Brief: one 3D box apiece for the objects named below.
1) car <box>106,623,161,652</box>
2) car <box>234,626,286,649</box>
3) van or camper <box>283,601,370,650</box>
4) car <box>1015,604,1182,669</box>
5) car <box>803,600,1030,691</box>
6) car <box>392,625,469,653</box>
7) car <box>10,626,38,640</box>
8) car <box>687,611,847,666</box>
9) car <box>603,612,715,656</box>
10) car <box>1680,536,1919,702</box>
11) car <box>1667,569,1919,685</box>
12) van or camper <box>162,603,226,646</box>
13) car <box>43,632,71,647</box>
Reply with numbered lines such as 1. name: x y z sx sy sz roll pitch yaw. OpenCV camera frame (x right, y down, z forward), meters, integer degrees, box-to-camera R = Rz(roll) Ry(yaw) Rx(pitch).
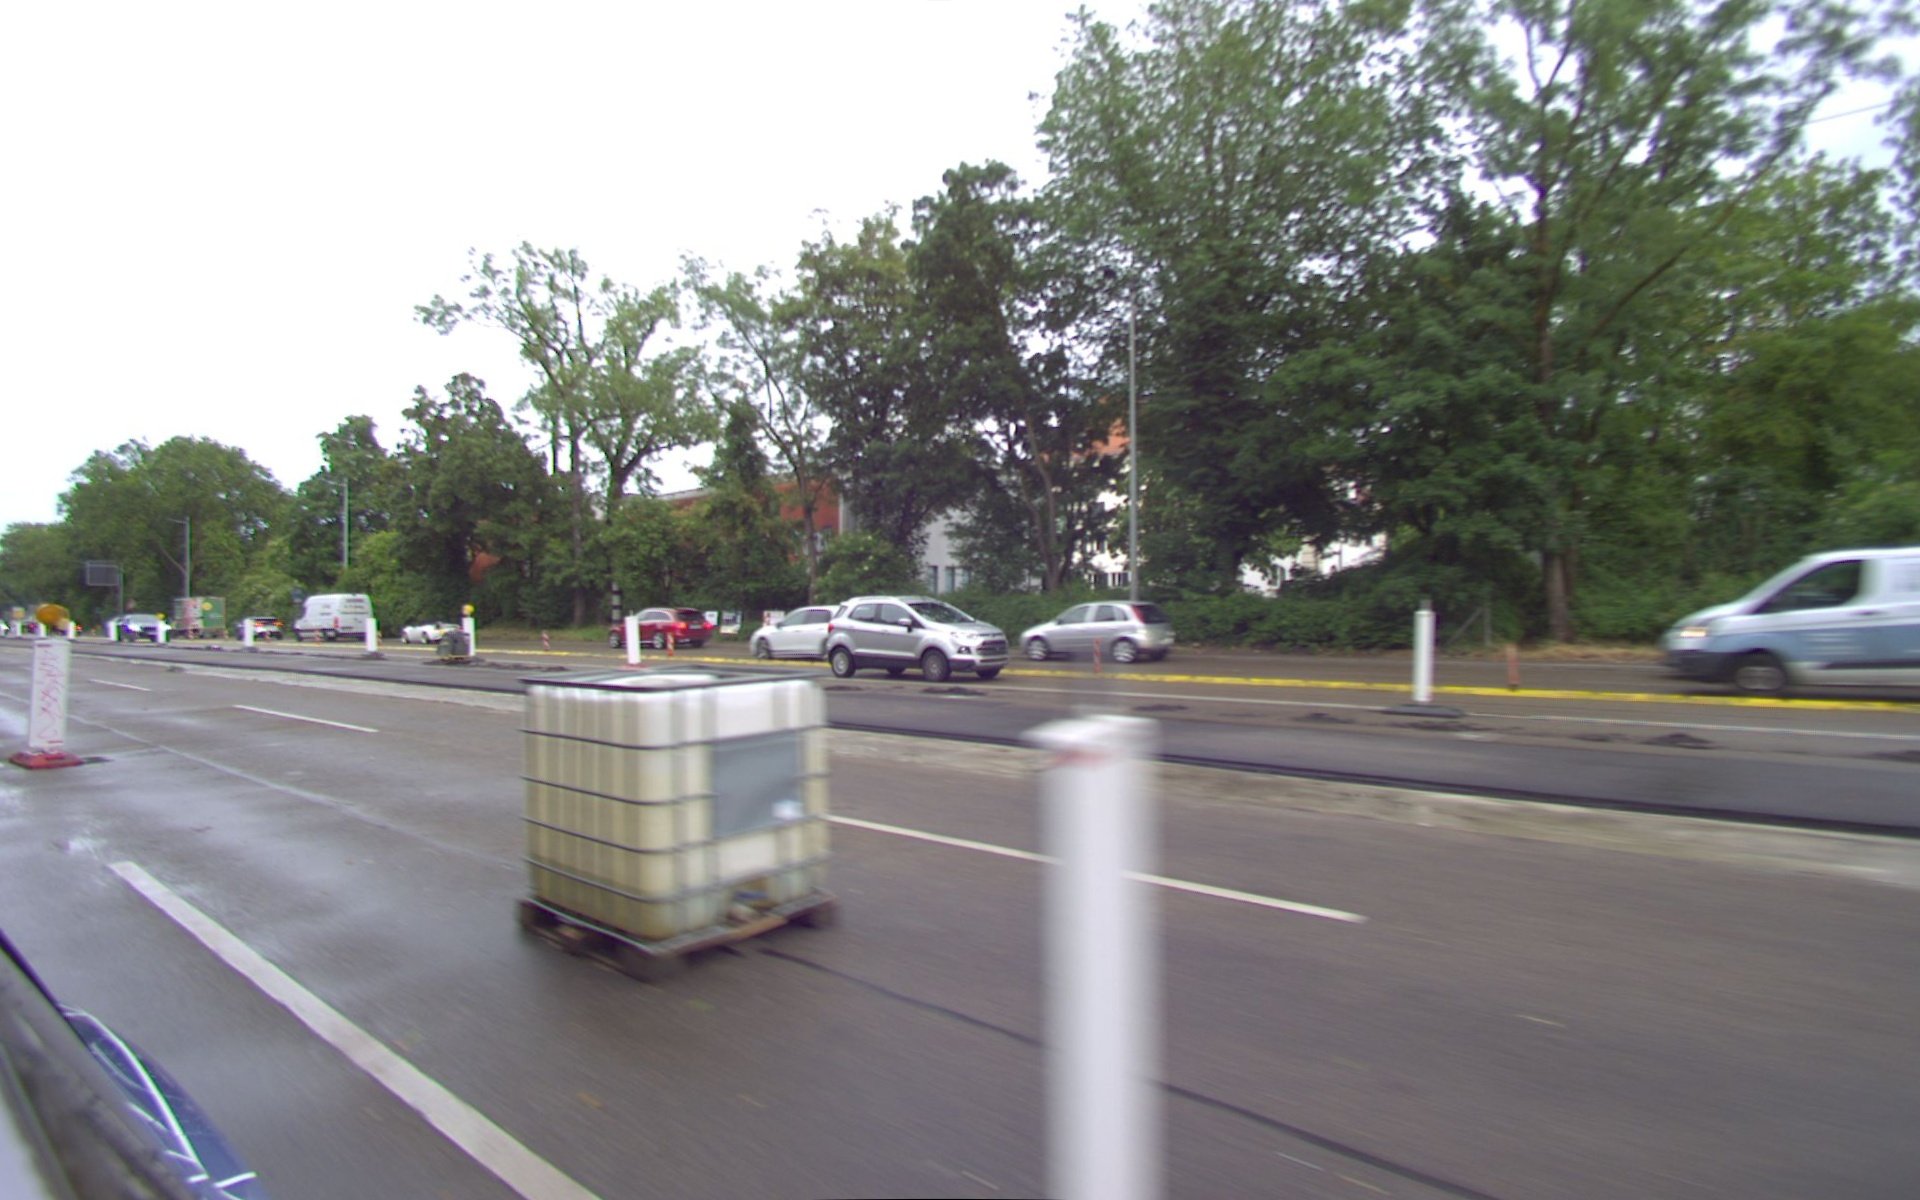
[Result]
1. car: -49.867 2.210 61.054 4.812 1.641 1.971 -2 -1 44
2. car: -44.536 2.386 64.352 4.078 1.375 1.698 -2 -2 40
3. van or camper: -35.813 1.424 57.100 7.725 2.574 1.973 -2 0 41
4. car: 3.273 0.852 24.288 3.638 1.411 1.661 -2 -1 42
5. car: -0.939 0.854 19.959 4.361 1.576 1.869 -2 0 41
6. car: -25.317 1.856 48.355 3.991 1.192 1.674 -2 0 36
7. car: -109.908 3.893 118.841 4.394 1.564 1.869 -2 0 40
8. car: -5.416 1.046 28.146 4.386 1.426 1.975 -1 -2 38
9. car: -10.904 1.204 36.518 4.483 1.487 1.711 -2 -2 40
10. car: 12.189 0.215 12.736 4.901 1.987 1.972 -2 -1 42
11. car: 13.462 0.391 15.631 3.998 1.634 1.808 -1 0 41
12. van or camper: -57.663 1.864 76.124 7.446 3.086 2.274 -2 -1 40
13. car: -89.152 3.869 99.899 4.106 1.453 1.669 -2 -1 42
